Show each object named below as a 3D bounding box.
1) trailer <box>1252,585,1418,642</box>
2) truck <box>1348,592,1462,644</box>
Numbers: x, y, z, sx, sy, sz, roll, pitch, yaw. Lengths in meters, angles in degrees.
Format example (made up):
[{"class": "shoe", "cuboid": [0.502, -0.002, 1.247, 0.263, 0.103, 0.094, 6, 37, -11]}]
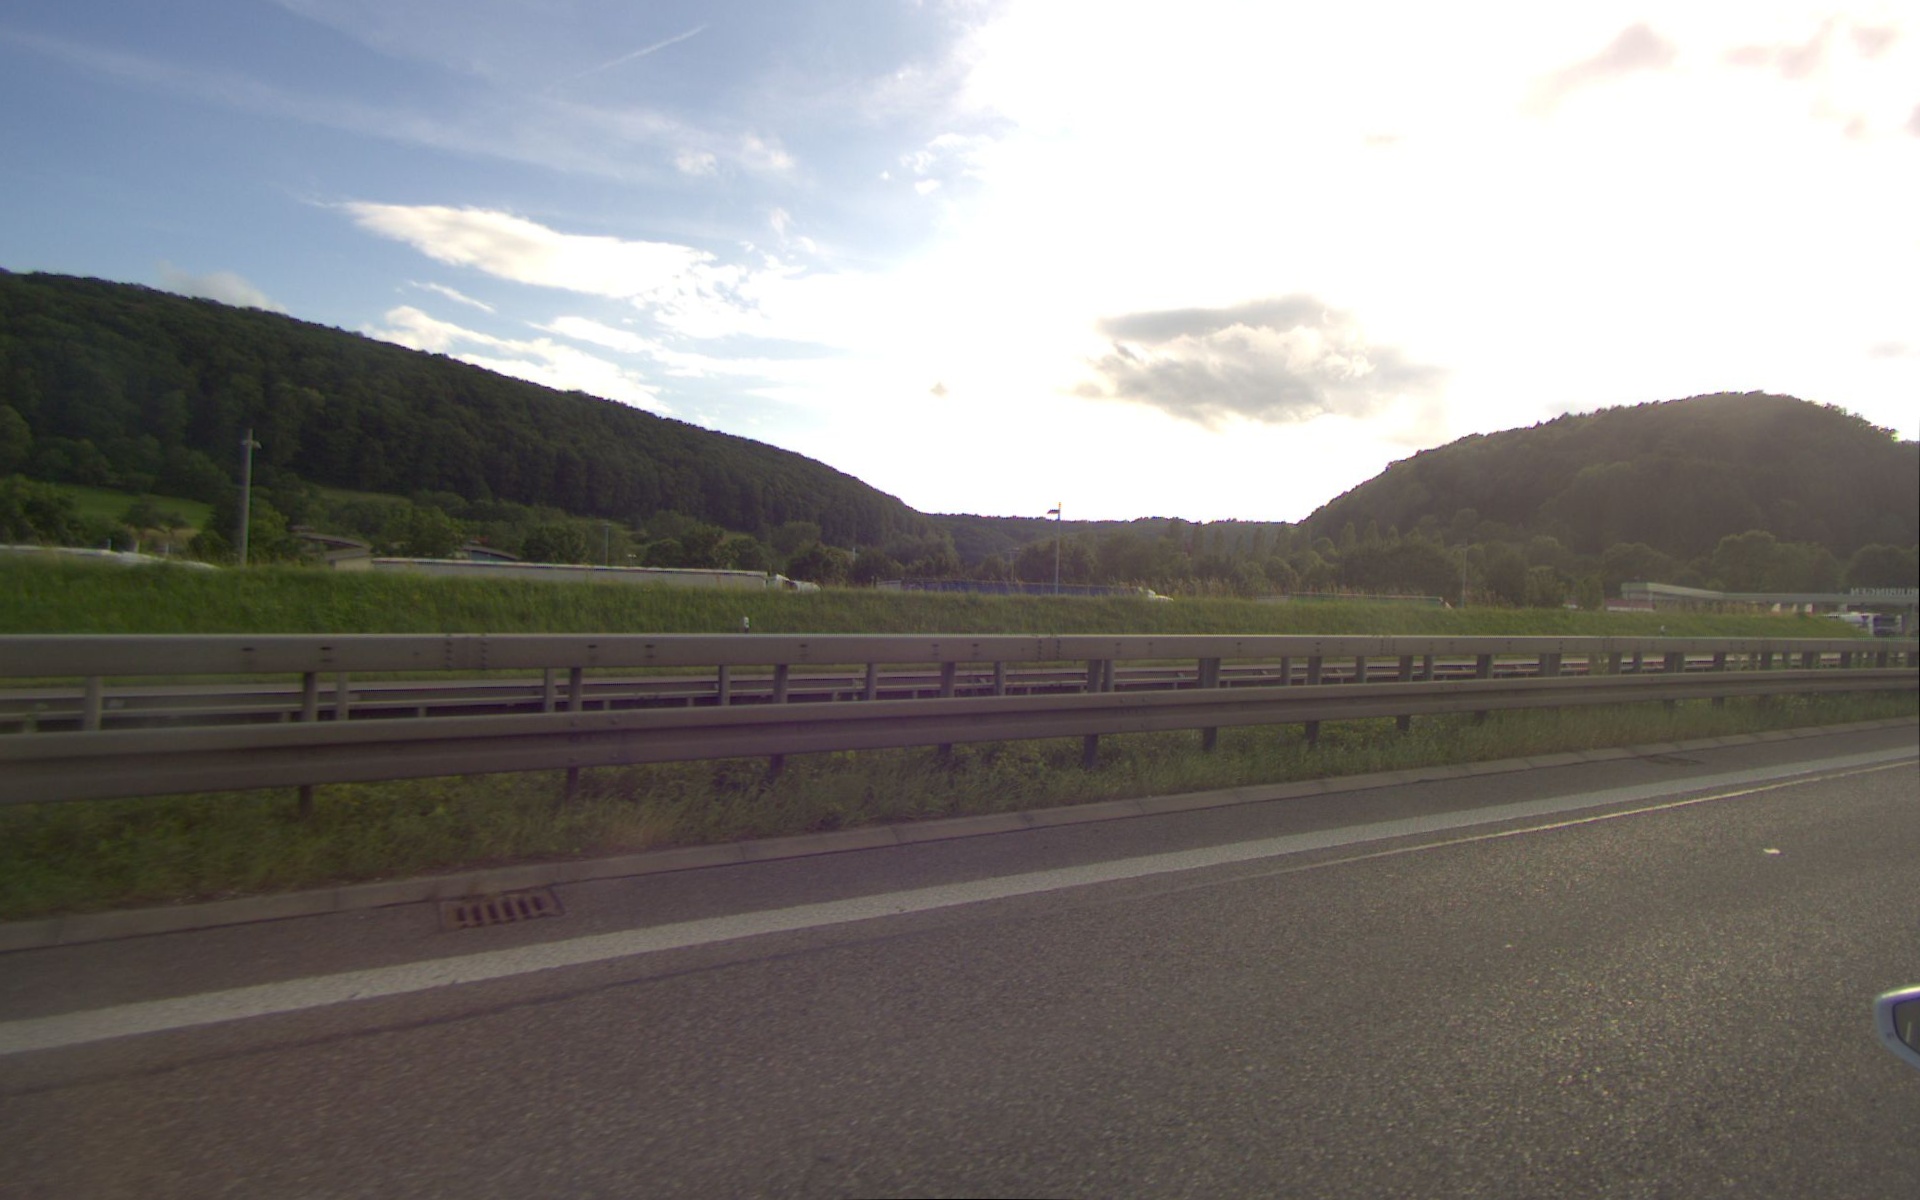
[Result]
[{"class": "trailer", "cuboid": [22.265, 0.854, 59.283, 11.245, 2.891, 2.567, 3, -1, -30]}, {"class": "truck", "cuboid": [27.648, 1.125, 62.314, 7.444, 2.891, 2.567, 3, -1, -30]}]
